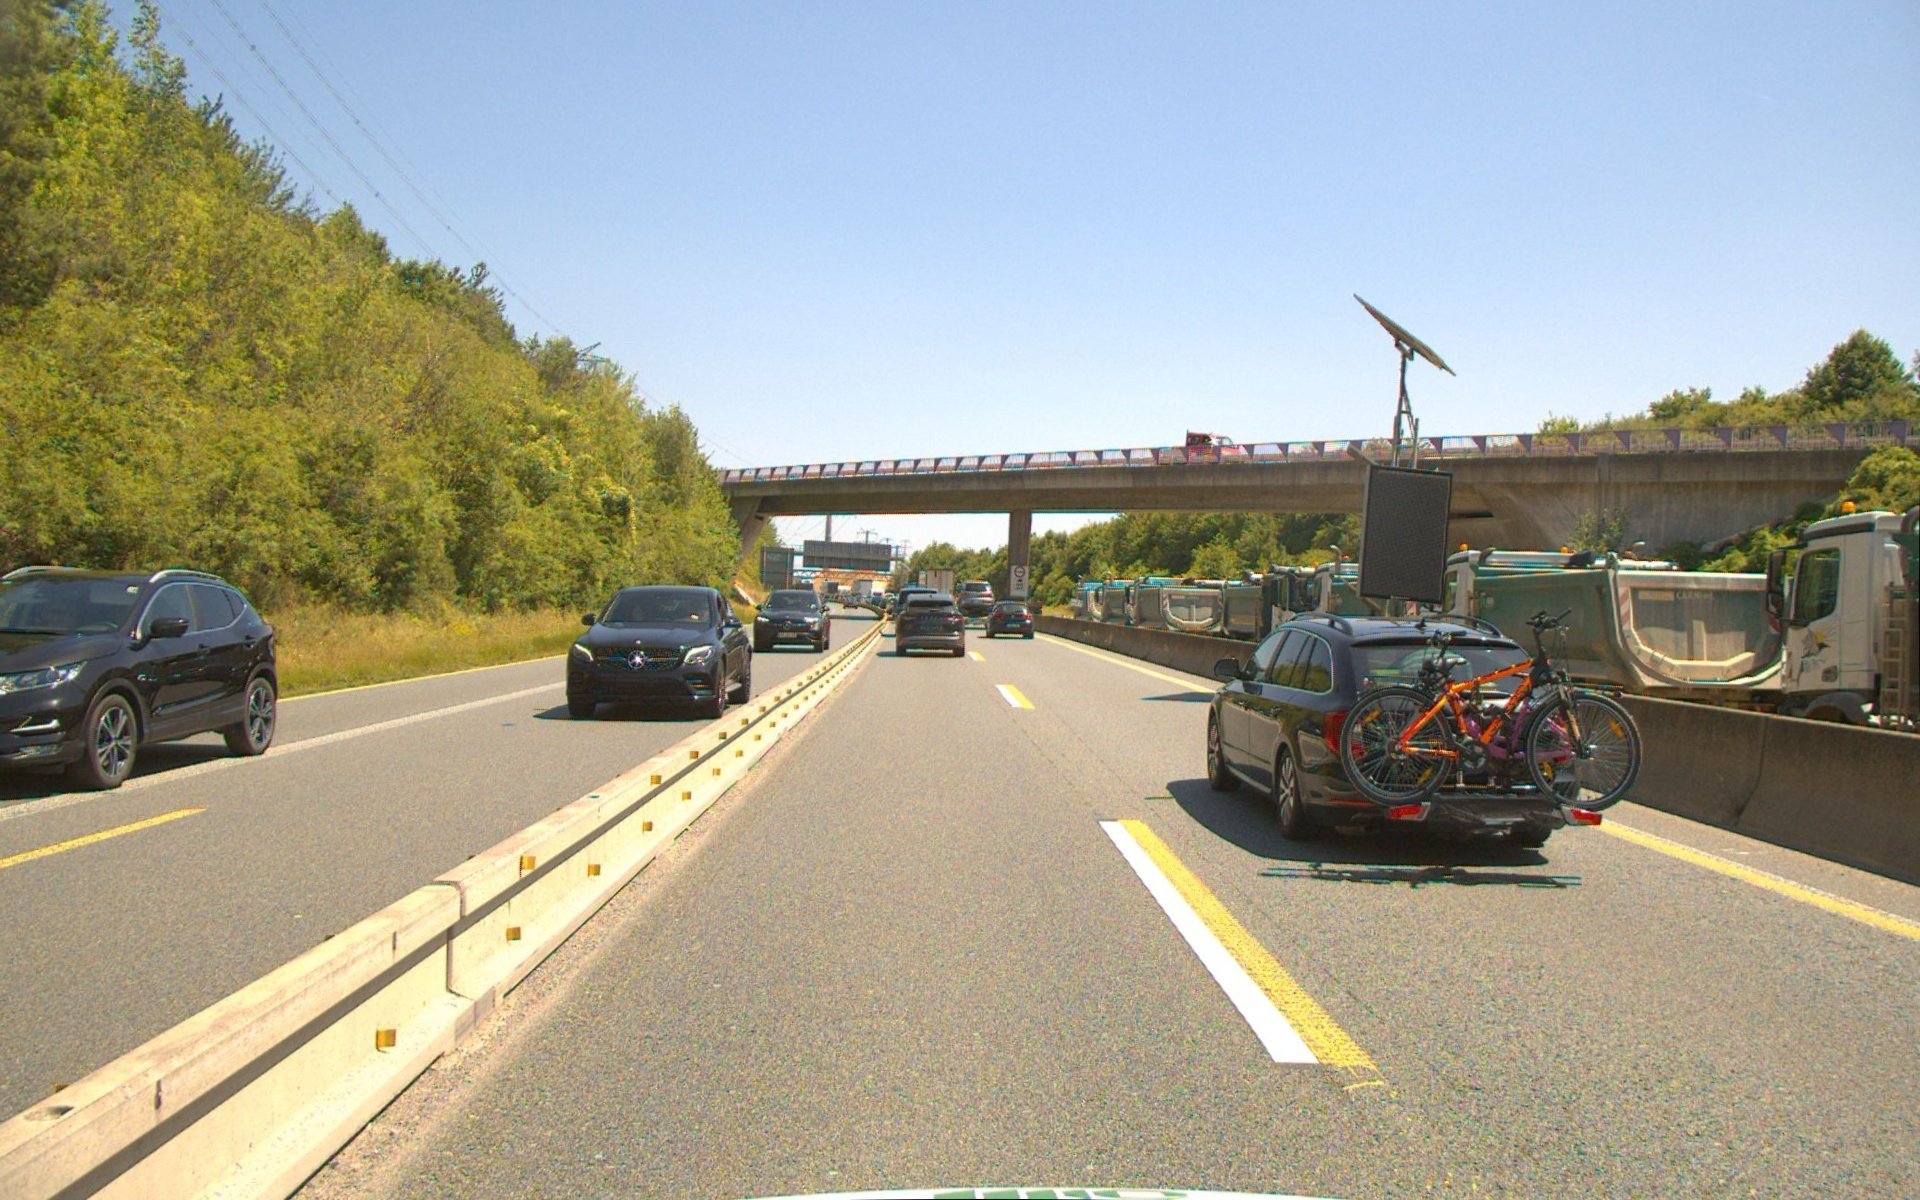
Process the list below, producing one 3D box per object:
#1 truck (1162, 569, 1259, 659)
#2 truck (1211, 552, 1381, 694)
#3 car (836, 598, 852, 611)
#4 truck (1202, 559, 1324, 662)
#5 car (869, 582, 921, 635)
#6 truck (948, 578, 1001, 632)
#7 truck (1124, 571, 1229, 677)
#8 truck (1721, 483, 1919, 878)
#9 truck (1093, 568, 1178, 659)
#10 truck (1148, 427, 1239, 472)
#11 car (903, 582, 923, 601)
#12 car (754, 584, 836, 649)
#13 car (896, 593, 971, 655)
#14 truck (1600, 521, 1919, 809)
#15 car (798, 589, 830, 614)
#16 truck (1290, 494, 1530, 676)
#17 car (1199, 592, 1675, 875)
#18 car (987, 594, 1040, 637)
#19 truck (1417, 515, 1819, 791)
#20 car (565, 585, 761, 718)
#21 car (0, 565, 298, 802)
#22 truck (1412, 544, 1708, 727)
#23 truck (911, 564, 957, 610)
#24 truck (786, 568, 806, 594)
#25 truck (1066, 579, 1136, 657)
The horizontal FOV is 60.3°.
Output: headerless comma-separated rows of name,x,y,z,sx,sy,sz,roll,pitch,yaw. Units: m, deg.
truck,11.243,0.582,75.117,2.633,3.792,9.321,1,0,-2
truck,9.399,0.589,47.408,2.633,3.619,9.321,1,0,-2
car,-13.536,0.521,193.312,1.640,1.418,4.069,1,0,-2
truck,11.508,0.377,63.702,2.633,3.619,9.321,1,0,-2
car,-2.558,0.335,66.063,1.860,2.003,4.275,1,0,0
truck,0.680,0.225,85.627,2.357,2.603,7.497,1,0,-2
truck,8.419,0.872,65.449,2.633,3.826,9.322,1,0,-2
truck,10.142,0.760,14.165,2.633,3.619,9.600,1,0,-1
truck,8.032,0.574,76.995,2.633,3.923,9.322,1,0,-2
truck,13.432,-8.639,95.570,1.916,2.102,5.443,2,-1,-37
car,-5.278,-0.919,184.557,1.863,2.003,4.270,1,0,-6
car,-4.495,0.427,45.623,1.806,1.638,4.698,2,0,-1
car,-0.687,0.607,44.145,1.860,1.531,4.275,1,0,0
truck,12.719,0.792,24.565,2.632,3.437,9.602,1,0,0
car,-9.586,0.106,108.847,1.742,1.604,4.068,1,0,-1
truck,10.056,-0.315,38.176,2.633,3.619,9.321,1,0,-2
car,2.992,0.752,11.591,1.860,1.516,4.947,1,0,0
car,2.079,0.605,65.179,1.860,1.613,4.275,1,0,-1
truck,10.055,0.698,26.701,2.632,3.619,9.405,1,0,0
car,-3.770,0.592,21.773,1.806,1.560,4.670,0,0,-1
car,-6.912,0.544,13.207,1.665,1.592,3.994,2,0,-1
truck,12.758,0.663,36.329,2.633,3.437,9.598,1,0,-2
truck,-2.448,-1.167,150.033,3.229,3.912,10.096,1,0,-6
truck,-21.308,-2.401,214.267,2.460,3.242,10.096,1,0,-6
truck,7.543,0.919,89.410,2.633,3.910,9.322,1,0,-2
